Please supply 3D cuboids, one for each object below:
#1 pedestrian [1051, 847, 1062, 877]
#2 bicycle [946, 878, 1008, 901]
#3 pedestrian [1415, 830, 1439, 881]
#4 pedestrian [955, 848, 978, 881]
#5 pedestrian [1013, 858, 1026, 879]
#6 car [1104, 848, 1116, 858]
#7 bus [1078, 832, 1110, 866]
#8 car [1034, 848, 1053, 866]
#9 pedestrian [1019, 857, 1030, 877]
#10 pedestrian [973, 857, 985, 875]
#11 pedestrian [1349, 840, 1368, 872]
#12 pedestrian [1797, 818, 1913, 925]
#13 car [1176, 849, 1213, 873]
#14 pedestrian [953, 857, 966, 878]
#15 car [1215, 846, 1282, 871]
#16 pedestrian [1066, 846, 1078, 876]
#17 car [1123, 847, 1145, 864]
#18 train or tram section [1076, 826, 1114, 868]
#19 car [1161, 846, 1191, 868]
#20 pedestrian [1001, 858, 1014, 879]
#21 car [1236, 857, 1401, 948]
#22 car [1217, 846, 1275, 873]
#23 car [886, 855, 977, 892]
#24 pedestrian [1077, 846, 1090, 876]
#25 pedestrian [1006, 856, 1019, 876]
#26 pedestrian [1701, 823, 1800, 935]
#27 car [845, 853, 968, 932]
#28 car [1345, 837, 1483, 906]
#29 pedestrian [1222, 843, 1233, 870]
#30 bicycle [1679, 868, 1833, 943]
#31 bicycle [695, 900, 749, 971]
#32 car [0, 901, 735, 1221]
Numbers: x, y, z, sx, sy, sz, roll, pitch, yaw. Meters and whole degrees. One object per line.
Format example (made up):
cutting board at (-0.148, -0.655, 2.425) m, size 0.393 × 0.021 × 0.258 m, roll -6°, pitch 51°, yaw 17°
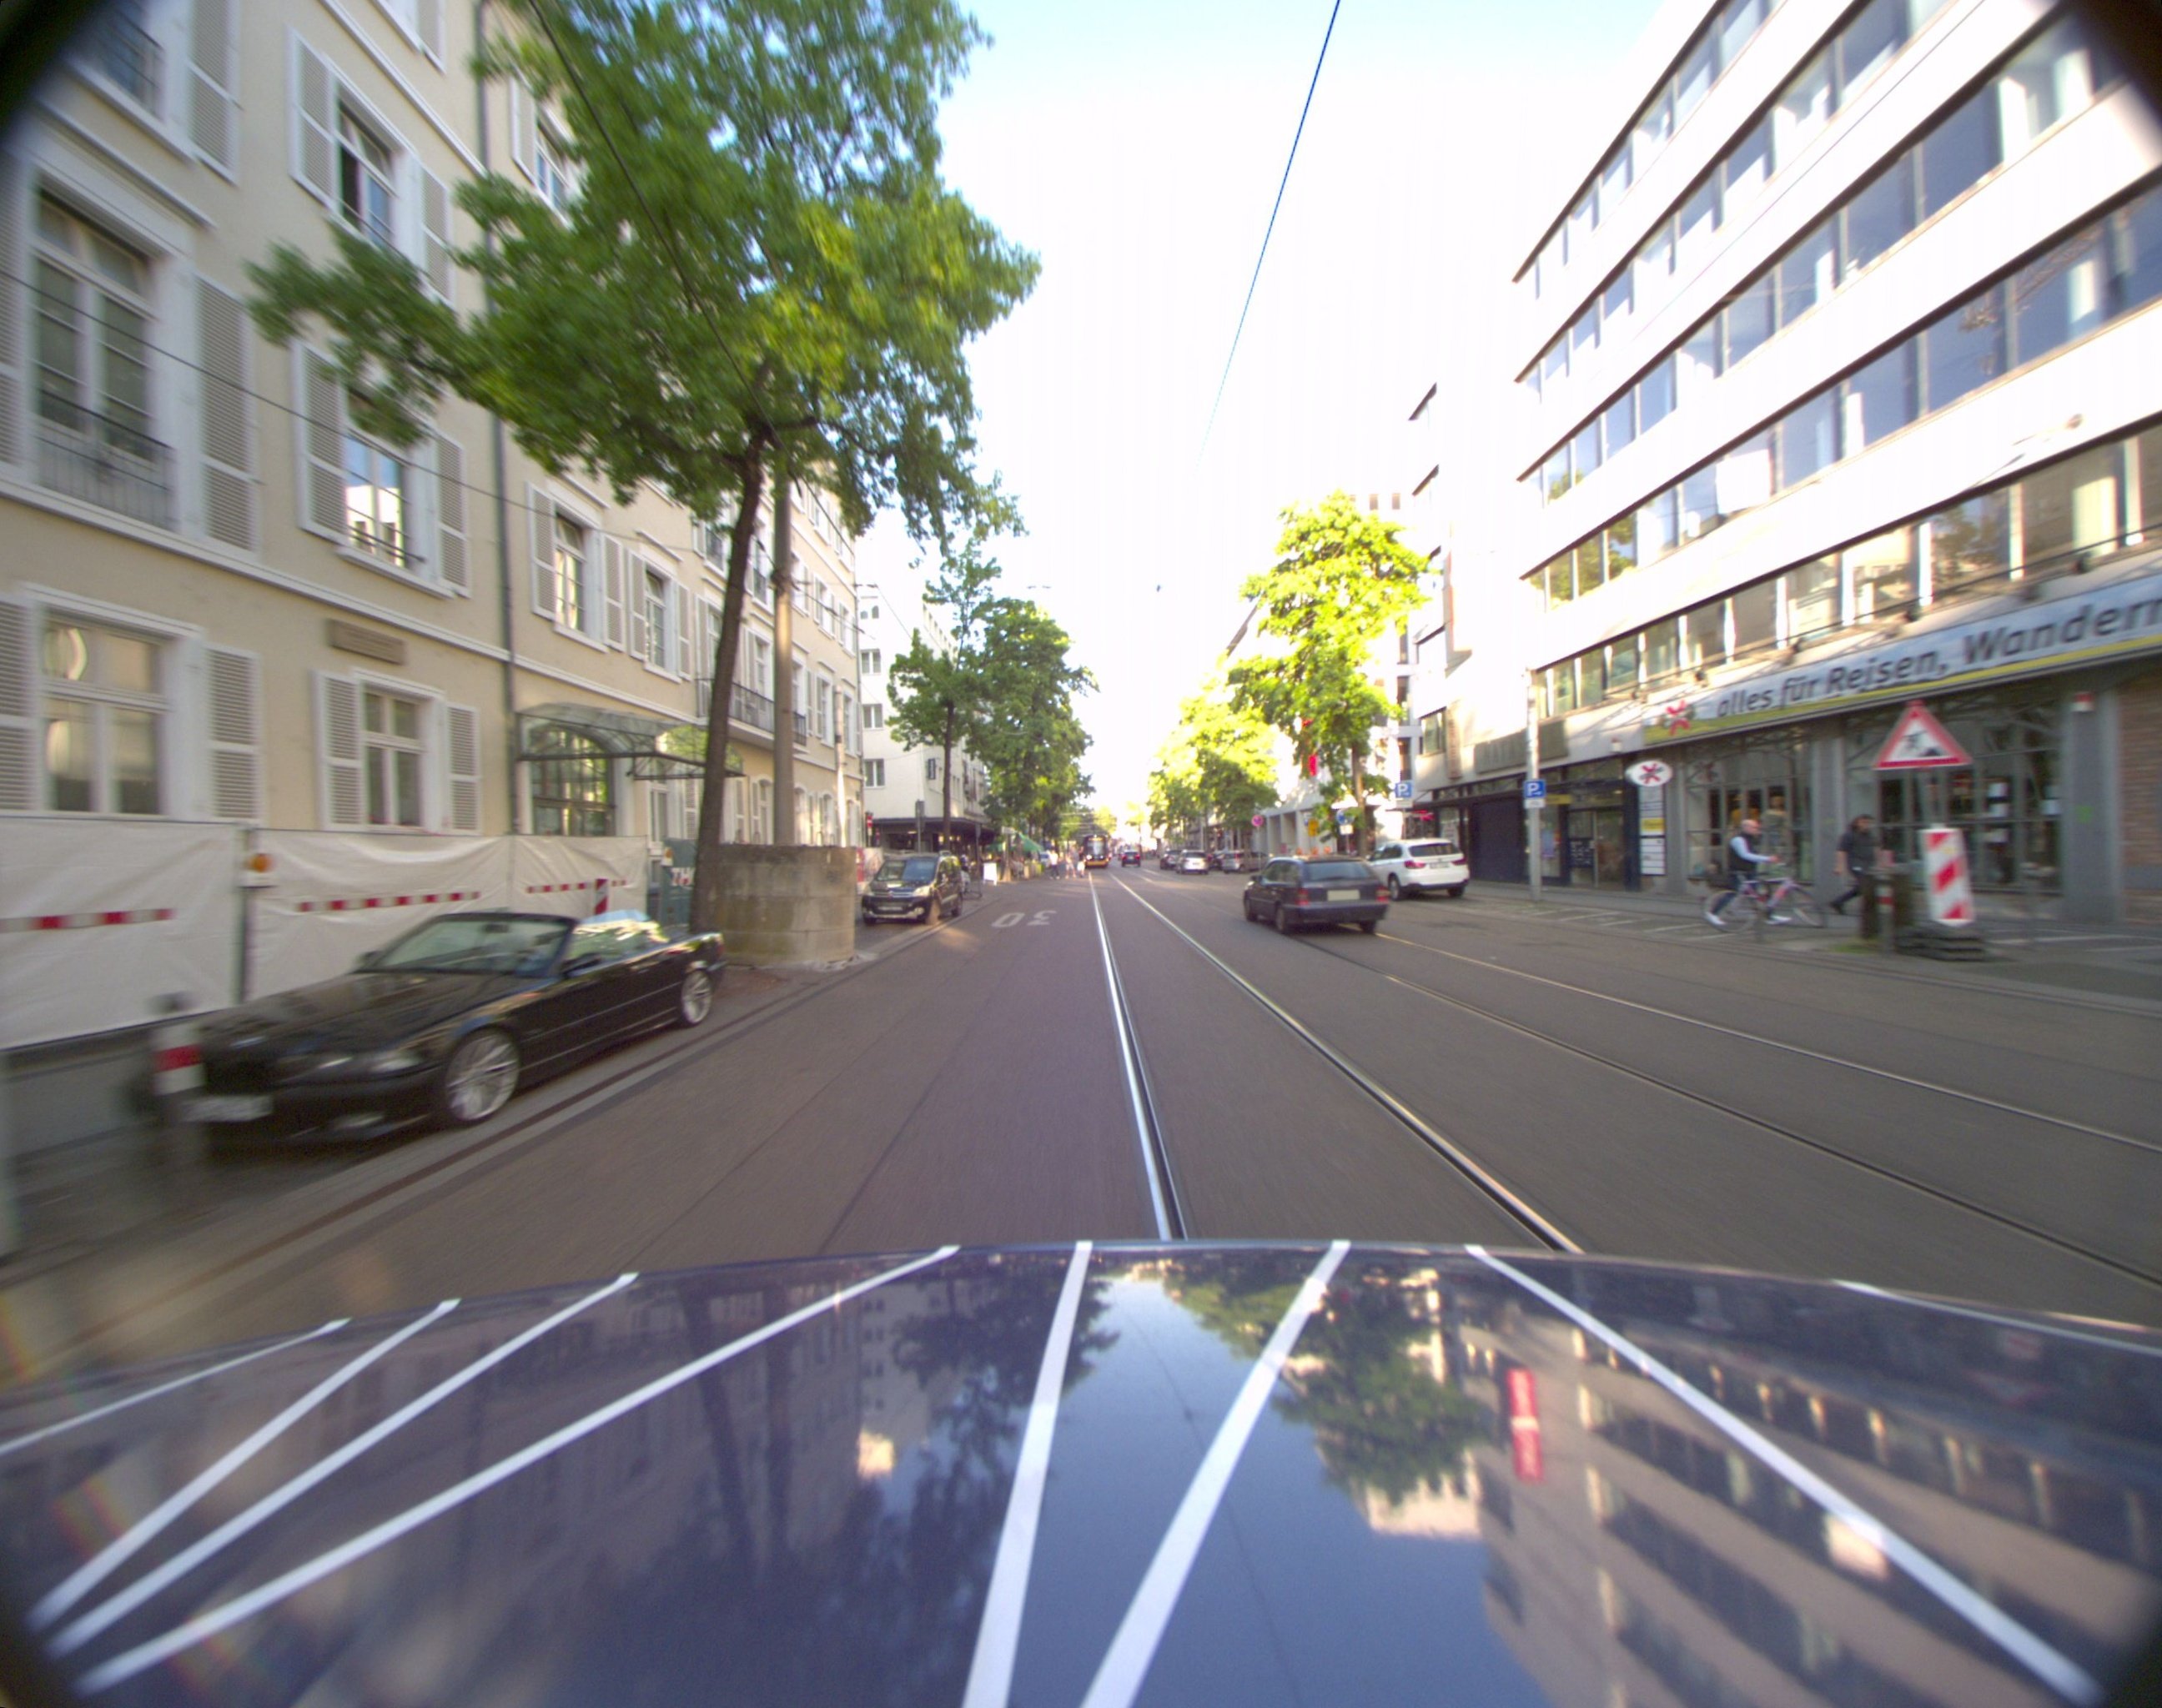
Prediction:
pedestrian at (-1.630, 0.530, 50.232) m, size 0.598 × 1.922 × 0.873 m, roll -2°, pitch 1°, yaw 2°
bicycle at (-3.846, 1.308, 28.215) m, size 1.753 × 0.744 × 1.566 m, roll 0°, pitch 1°, yaw 18°
pedestrian at (13.611, 0.055, 29.888) m, size 0.616 × 2.002 × 0.592 m, roll -2°, pitch 1°, yaw -1°
pedestrian at (-6.489, 0.593, 43.045) m, size 0.945 × 1.805 × 1.071 m, roll -2°, pitch 3°, yaw 8°
pedestrian at (-3.969, 0.924, 48.921) m, size 0.716 × 1.321 × 0.624 m, roll -2°, pitch 1°, yaw 2°
car at (5.859, -0.159, 152.429) m, size 2.218 × 1.849 × 3.999 m, roll -2°, pitch 0°, yaw -1°
bus at (1.615, -0.598, 98.431) m, size 3.616 × 3.974 × 17.482 m, roll -2°, pitch 0°, yaw 1°
car at (-3.999, 0.333, 81.873) m, size 2.003 × 1.831 × 4.965 m, roll 0°, pitch 1°, yaw -3°
pedestrian at (-3.865, 0.880, 52.012) m, size 0.716 × 1.321 × 0.624 m, roll -2°, pitch 1°, yaw 2°
pedestrian at (-7.602, 0.870, 56.552) m, size 0.716 × 1.321 × 0.624 m, roll -2°, pitch 1°, yaw 2°
pedestrian at (14.664, 0.107, 40.188) m, size 0.725 × 1.636 × 0.611 m, roll -2°, pitch 1°, yaw 2°
pedestrian at (13.097, 0.285, 12.895) m, size 0.834 × 1.685 × 1.037 m, roll -4°, pitch 1°, yaw 1°
car at (7.616, 0.452, 51.417) m, size 1.889 × 1.602 × 4.200 m, roll 0°, pitch 0°, yaw 0°
pedestrian at (-8.085, 0.899, 50.477) m, size 0.716 × 1.321 × 0.624 m, roll -2°, pitch 1°, yaw 2°
car at (11.874, 0.329, 53.912) m, size 4.320 × 1.404 × 1.575 m, roll -5°, pitch 2°, yaw -18°
pedestrian at (-0.607, 0.447, 50.353) m, size 0.672 × 1.922 × 0.873 m, roll -2°, pitch 1°, yaw 2°
car at (5.529, 0.100, 79.869) m, size 2.039 × 1.677 × 4.200 m, roll -2°, pitch 0°, yaw 0°
train or tram section at (1.431, -0.670, 81.804) m, size 3.607 × 3.974 × 15.715 m, roll -2°, pitch 0°, yaw 1°
car at (7.982, 0.256, 63.969) m, size 2.039 × 1.796 × 4.200 m, roll -1°, pitch 0°, yaw 0°
pedestrian at (-4.712, 0.944, 48.960) m, size 0.716 × 1.321 × 0.624 m, roll -2°, pitch 1°, yaw 2°
car at (4.338, 0.801, 14.647) m, size 1.783 × 1.399 × 4.527 m, roll -2°, pitch 0°, yaw 1°
car at (11.119, 0.348, 51.087) m, size 3.405 × 1.551 × 1.785 m, roll -5°, pitch 2°, yaw -30°
car at (-7.304, 0.937, 37.369) m, size 3.937 × 1.600 × 1.867 m, roll -2°, pitch 2°, yaw 7°
pedestrian at (0.149, 0.428, 49.562) m, size 0.772 × 1.922 × 0.873 m, roll -2°, pitch 1°, yaw 2°
pedestrian at (-4.530, 0.781, 50.075) m, size 0.716 × 1.321 × 0.624 m, roll -2°, pitch 1°, yaw 2°
pedestrian at (10.961, 0.394, 12.464) m, size 0.853 × 1.756 × 0.831 m, roll -2°, pitch 1°, yaw -6°
car at (-4.346, 0.873, 19.698) m, size 1.956 × 1.782 × 4.316 m, roll 0°, pitch 1°, yaw 4°
car at (9.905, 0.470, 23.072) m, size 1.998 × 1.744 × 4.744 m, roll -4°, pitch 0°, yaw 0°
pedestrian at (10.734, 0.193, 55.849) m, size 0.656 × 1.922 × 0.723 m, roll -2°, pitch 1°, yaw 2°
bicycle at (10.396, 0.790, 11.738) m, size 1.748 × 0.986 × 0.478 m, roll -5°, pitch 0°, yaw 8°
bicycle at (-6.234, 1.387, 13.265) m, size 0.656 × 1.064 × 1.671 m, roll 0°, pitch 0°, yaw -19°
car at (-4.643, 1.179, 5.999) m, size 1.798 × 1.304 × 4.329 m, roll 0°, pitch 1°, yaw 1°
